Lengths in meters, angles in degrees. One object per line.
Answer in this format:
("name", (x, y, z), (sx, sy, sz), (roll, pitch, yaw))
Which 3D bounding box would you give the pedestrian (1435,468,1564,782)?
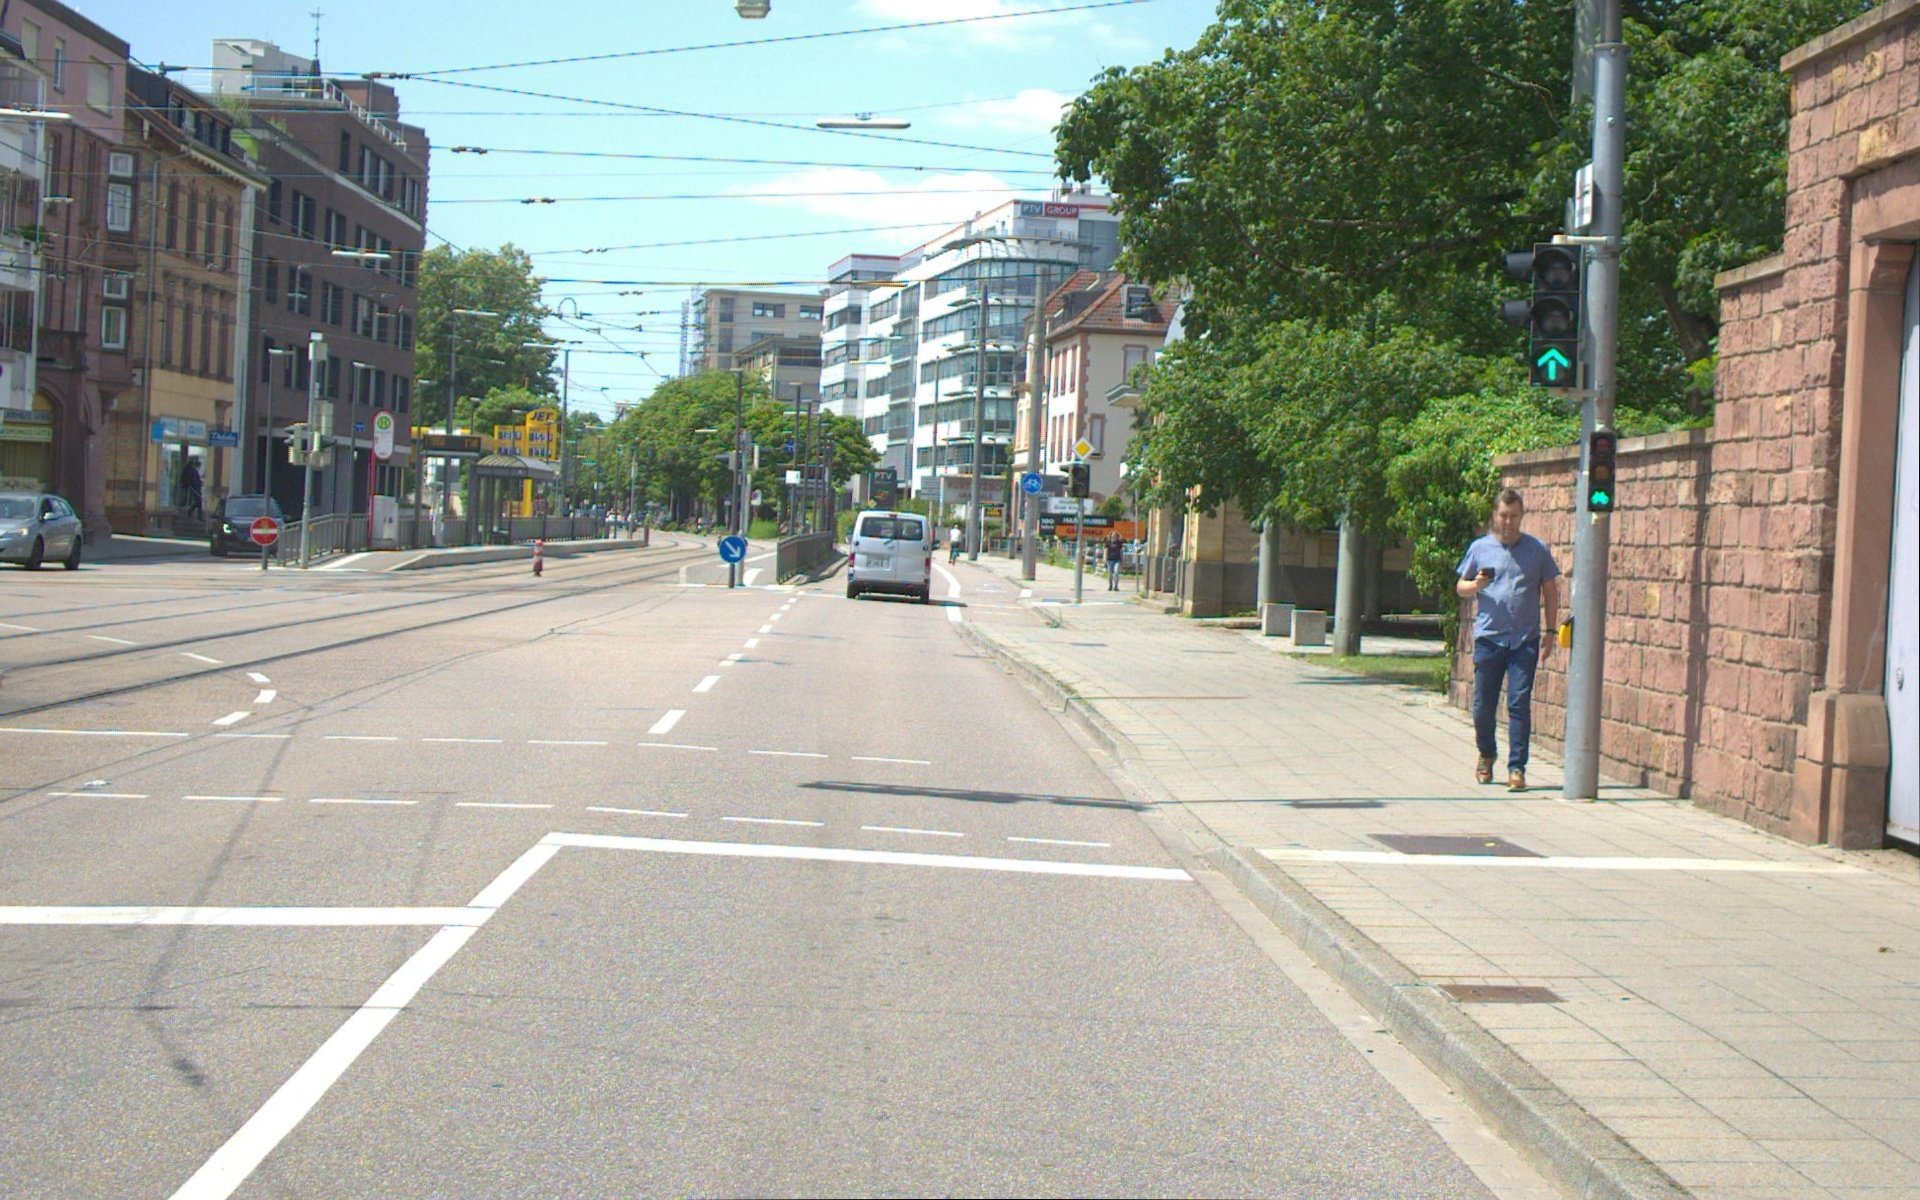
("pedestrian", (3.230, 0.138, 20.619), (0.715, 1.845, 0.767), (0, 1, 6))

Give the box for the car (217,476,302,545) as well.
("car", (-18.544, -2.402, 91.126), (1.723, 1.677, 4.280), (3, 2, -6))

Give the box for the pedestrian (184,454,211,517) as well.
("pedestrian", (-24.720, -3.710, 111.477), (0.617, 2.007, 0.810), (4, 0, -3))

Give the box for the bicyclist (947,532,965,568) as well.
("bicyclist", (-0.176, -1.985, 137.103), (0.591, 1.392, 0.842), (3, 1, -3))

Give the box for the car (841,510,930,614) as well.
("car", (-1.572, -0.824, 71.962), (1.752, 2.006, 4.001), (2, 2, -2))

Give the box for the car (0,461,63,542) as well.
("car", (-18.381, -1.917, 65.712), (1.993, 1.466, 4.403), (2, 1, -10))

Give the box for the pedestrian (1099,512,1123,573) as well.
("pedestrian", (3.915, -1.486, 89.119), (0.577, 1.551, 0.786), (1, 0, 2))
